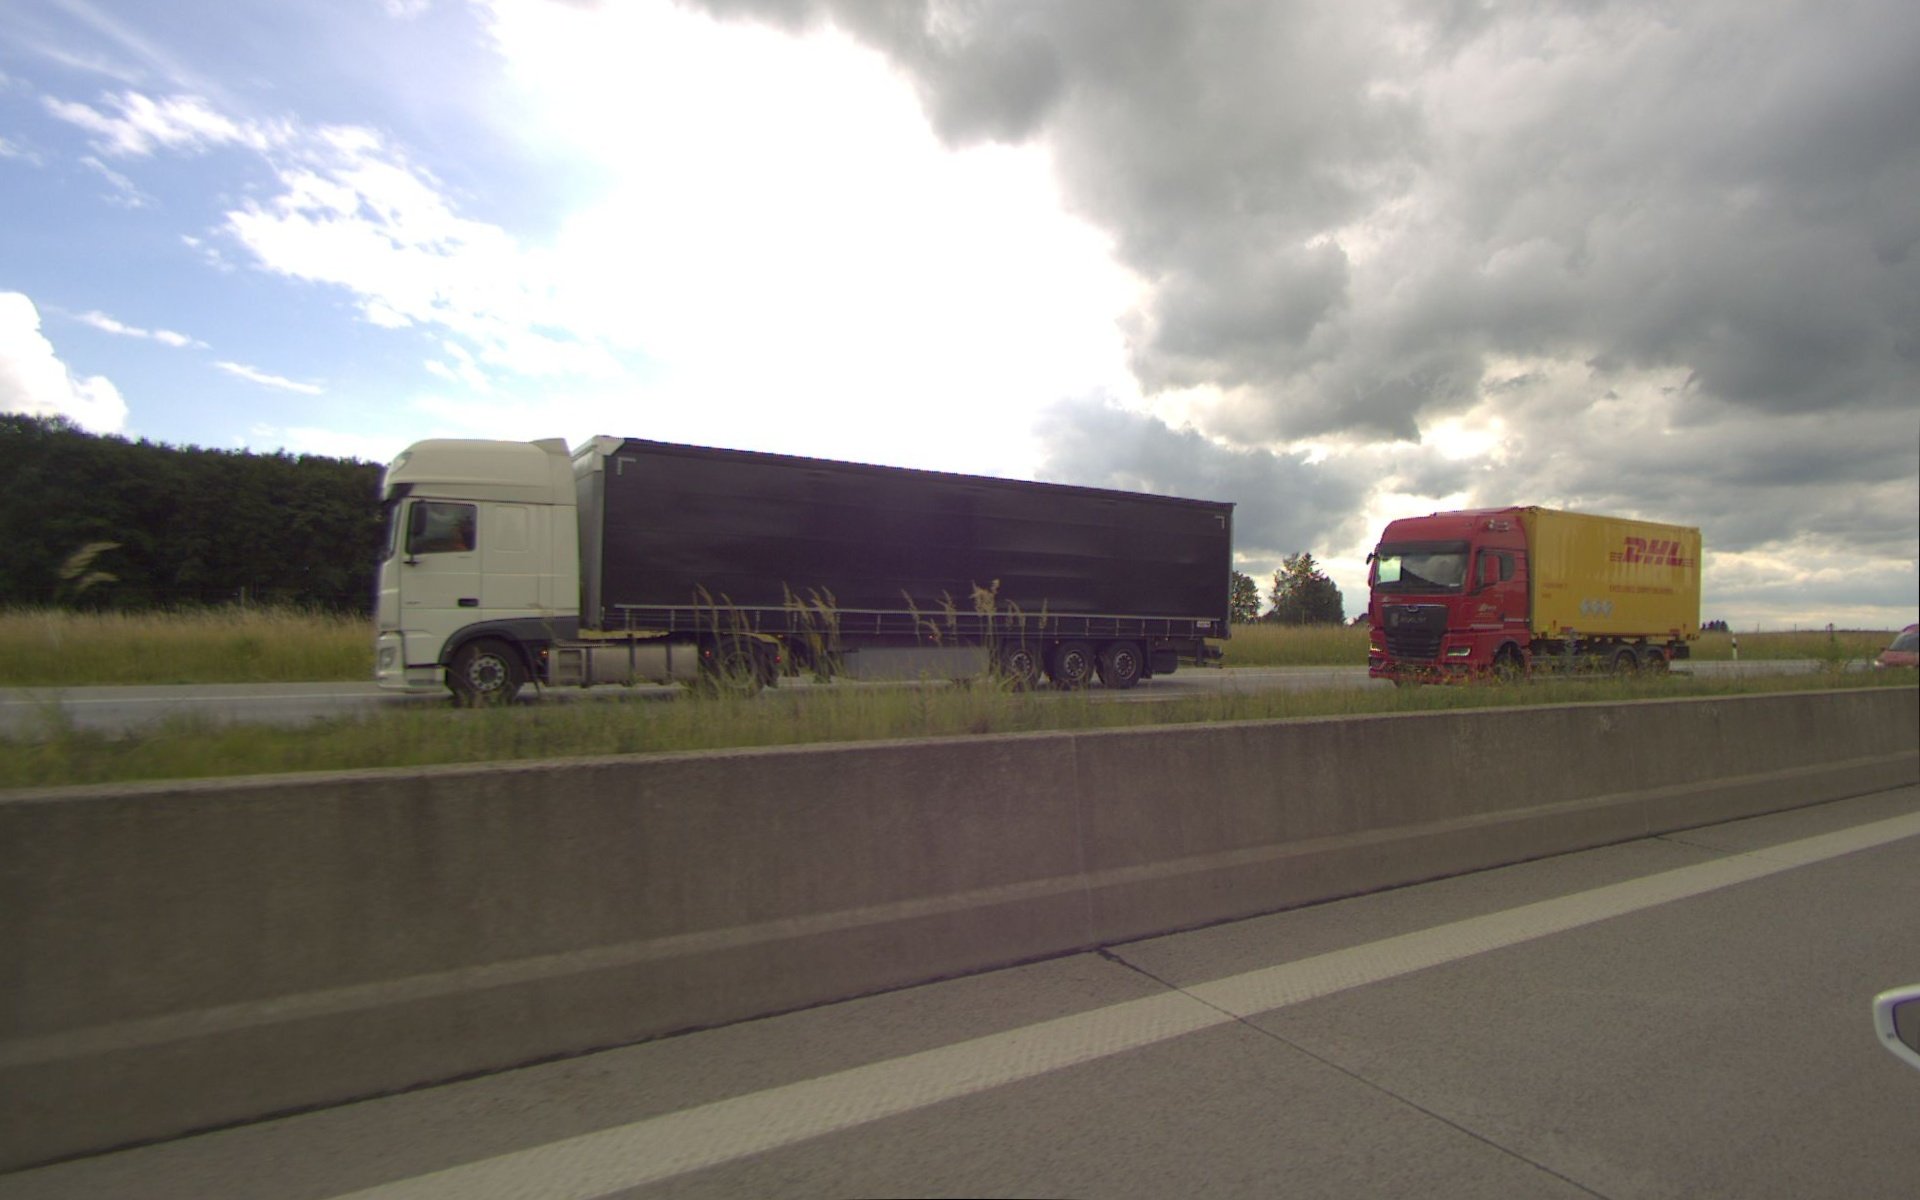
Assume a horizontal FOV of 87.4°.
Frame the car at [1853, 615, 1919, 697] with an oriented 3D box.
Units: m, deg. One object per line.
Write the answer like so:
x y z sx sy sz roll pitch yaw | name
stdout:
25.584 1.479 26.368 5.282 1.988 1.802 3 0 -32 | car

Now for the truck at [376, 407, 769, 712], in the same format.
-6.164 -0.476 16.102 5.448 4.092 2.825 1 -1 -31 | truck

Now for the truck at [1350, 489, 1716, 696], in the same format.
13.812 -0.031 23.735 10.448 4.092 2.802 1 -1 -31 | truck

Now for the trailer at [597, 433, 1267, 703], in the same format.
0.227 -0.336 20.022 13.748 4.092 2.825 1 -1 -31 | trailer
